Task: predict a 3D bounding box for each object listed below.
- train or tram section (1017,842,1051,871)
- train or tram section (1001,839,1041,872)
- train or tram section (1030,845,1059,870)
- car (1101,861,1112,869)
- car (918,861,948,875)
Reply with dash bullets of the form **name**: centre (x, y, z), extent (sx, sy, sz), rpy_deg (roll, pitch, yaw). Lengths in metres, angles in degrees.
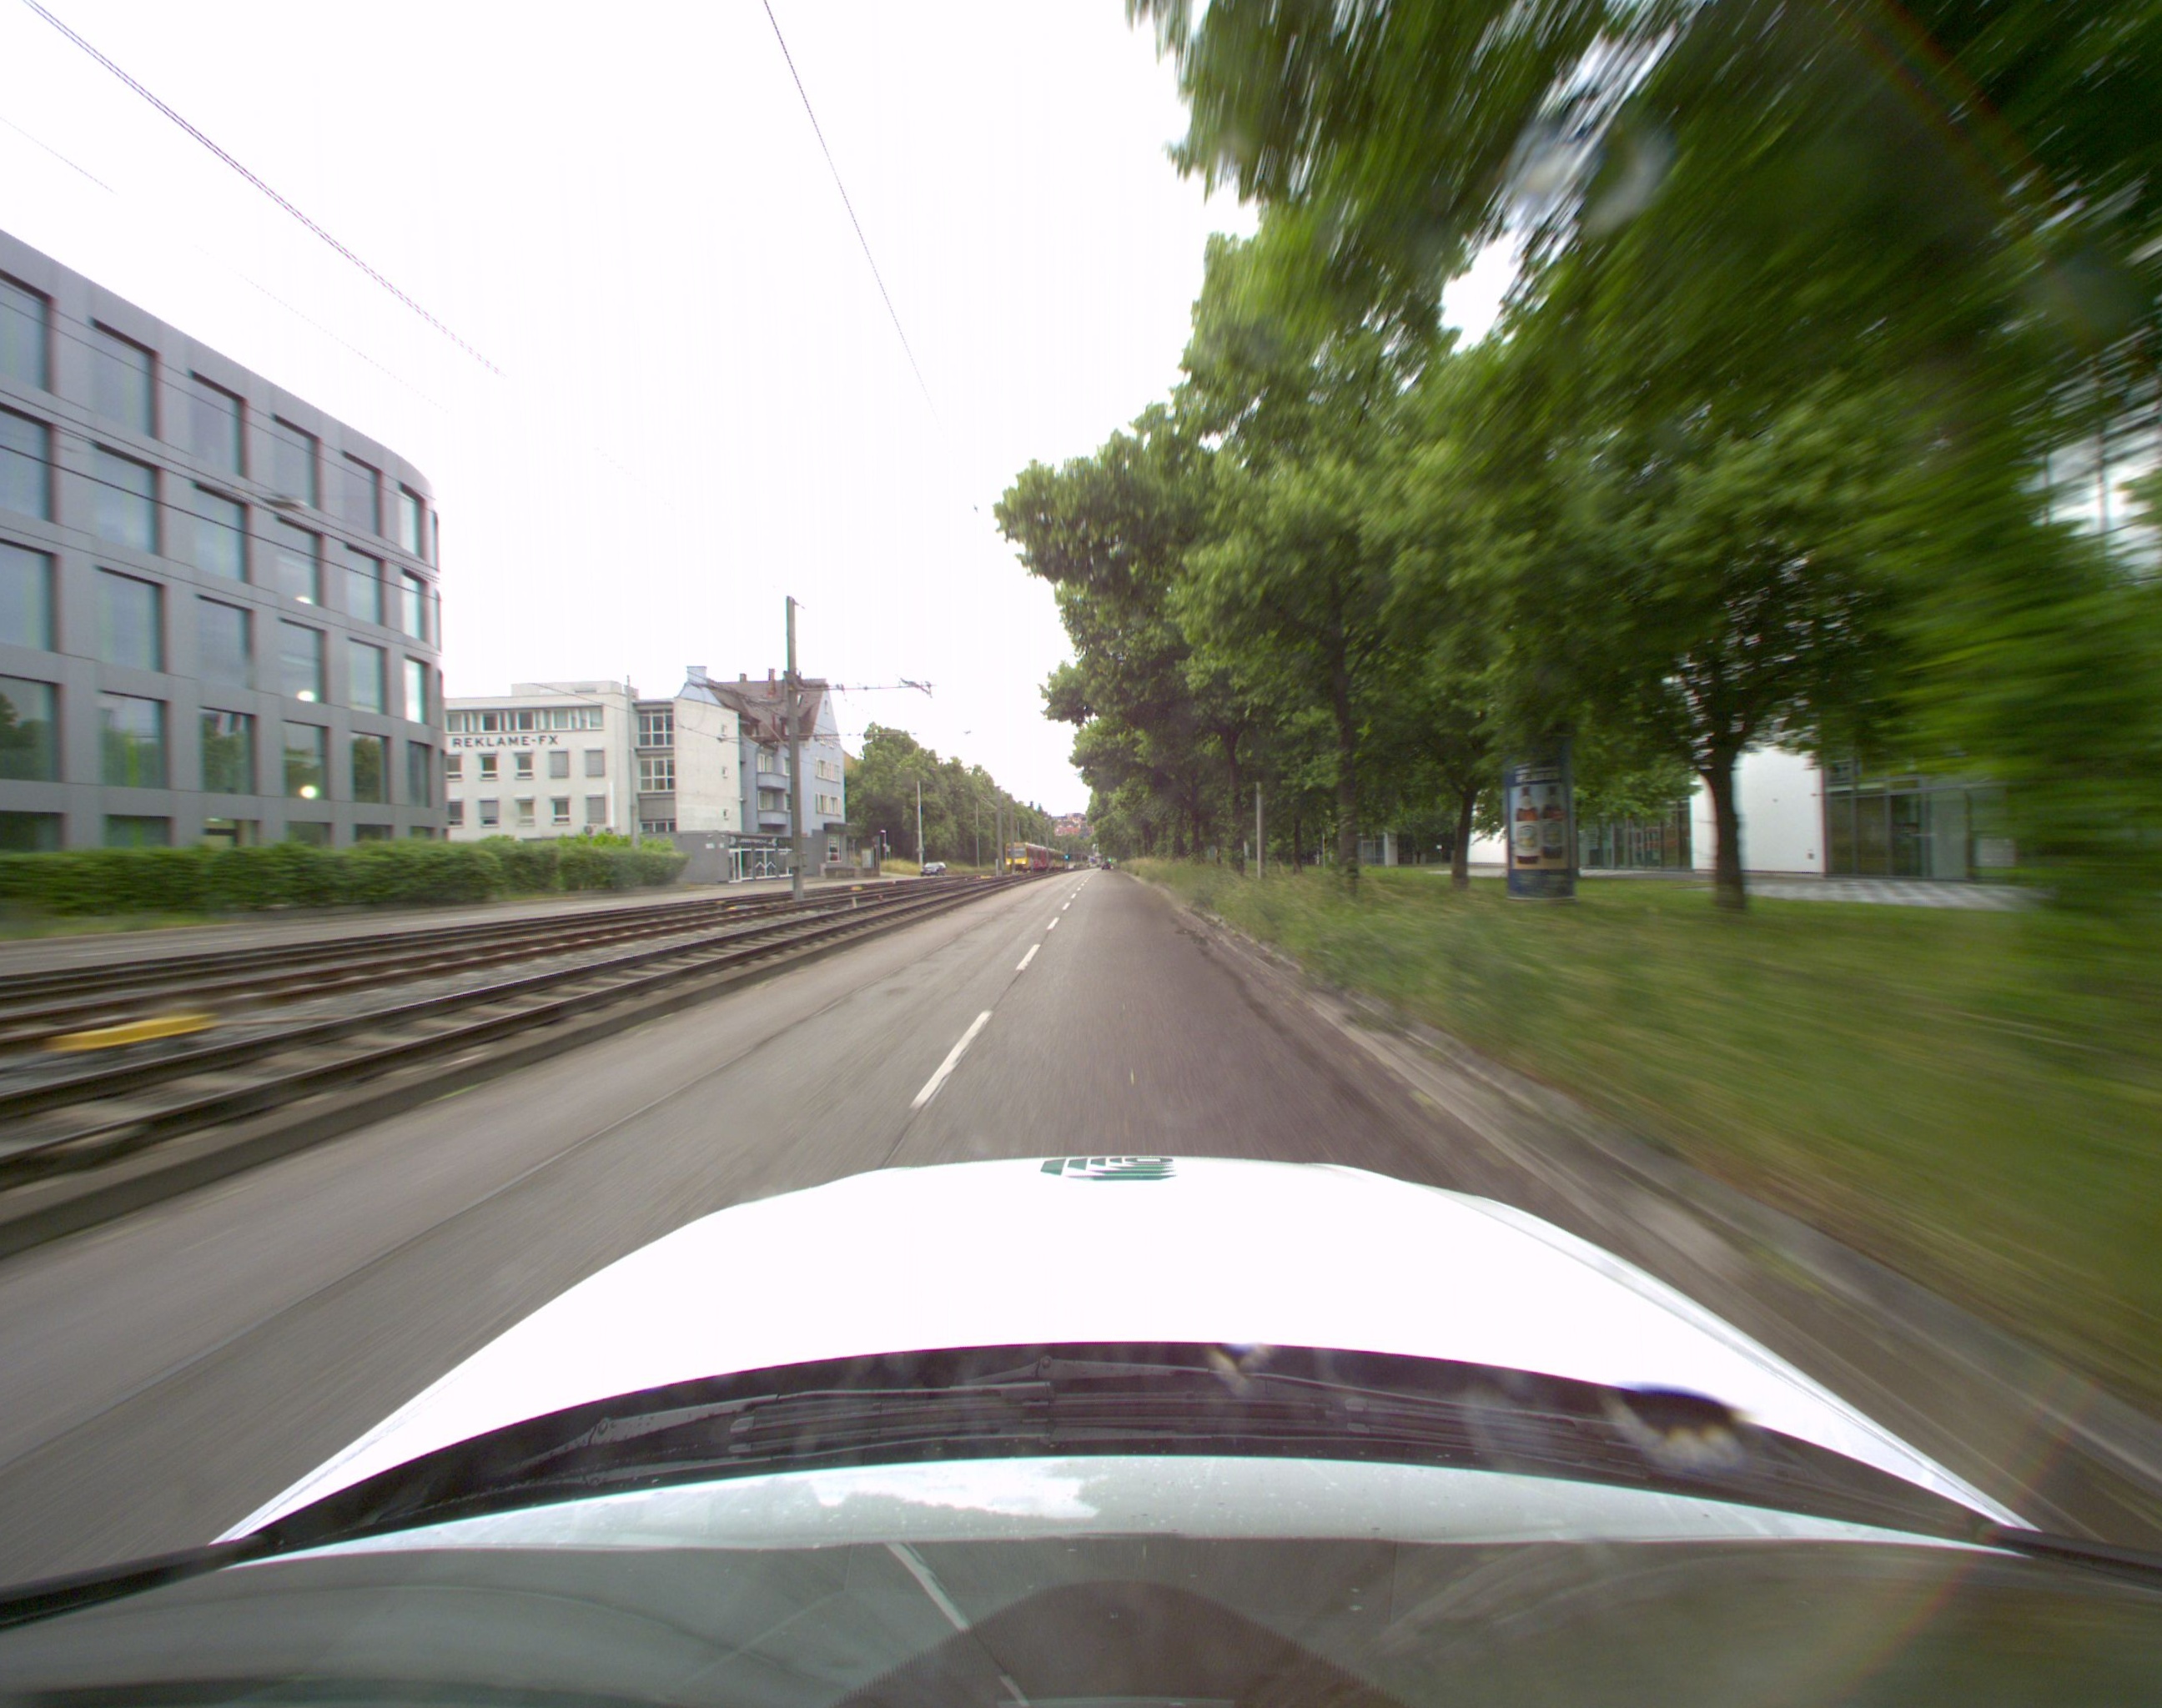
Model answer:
- **train or tram section**: centre (-6.653, 0.421, 118.033), extent (3.201, 3.796, 14.800), rpy_deg (-2, -1, 3)
- **train or tram section**: centre (-7.410, 0.223, 103.207), extent (3.201, 3.796, 14.800), rpy_deg (-2, -1, 3)
- **train or tram section**: centre (-5.837, 0.604, 132.860), extent (3.201, 3.796, 14.800), rpy_deg (-2, -1, 3)
- **car**: centre (4.693, 2.020, 150.361), extent (1.975, 1.440, 4.476), rpy_deg (-2, 0, 2)
- **car**: centre (-14.788, 1.399, 81.768), extent (1.894, 1.325, 4.829), rpy_deg (-2, -1, 3)
